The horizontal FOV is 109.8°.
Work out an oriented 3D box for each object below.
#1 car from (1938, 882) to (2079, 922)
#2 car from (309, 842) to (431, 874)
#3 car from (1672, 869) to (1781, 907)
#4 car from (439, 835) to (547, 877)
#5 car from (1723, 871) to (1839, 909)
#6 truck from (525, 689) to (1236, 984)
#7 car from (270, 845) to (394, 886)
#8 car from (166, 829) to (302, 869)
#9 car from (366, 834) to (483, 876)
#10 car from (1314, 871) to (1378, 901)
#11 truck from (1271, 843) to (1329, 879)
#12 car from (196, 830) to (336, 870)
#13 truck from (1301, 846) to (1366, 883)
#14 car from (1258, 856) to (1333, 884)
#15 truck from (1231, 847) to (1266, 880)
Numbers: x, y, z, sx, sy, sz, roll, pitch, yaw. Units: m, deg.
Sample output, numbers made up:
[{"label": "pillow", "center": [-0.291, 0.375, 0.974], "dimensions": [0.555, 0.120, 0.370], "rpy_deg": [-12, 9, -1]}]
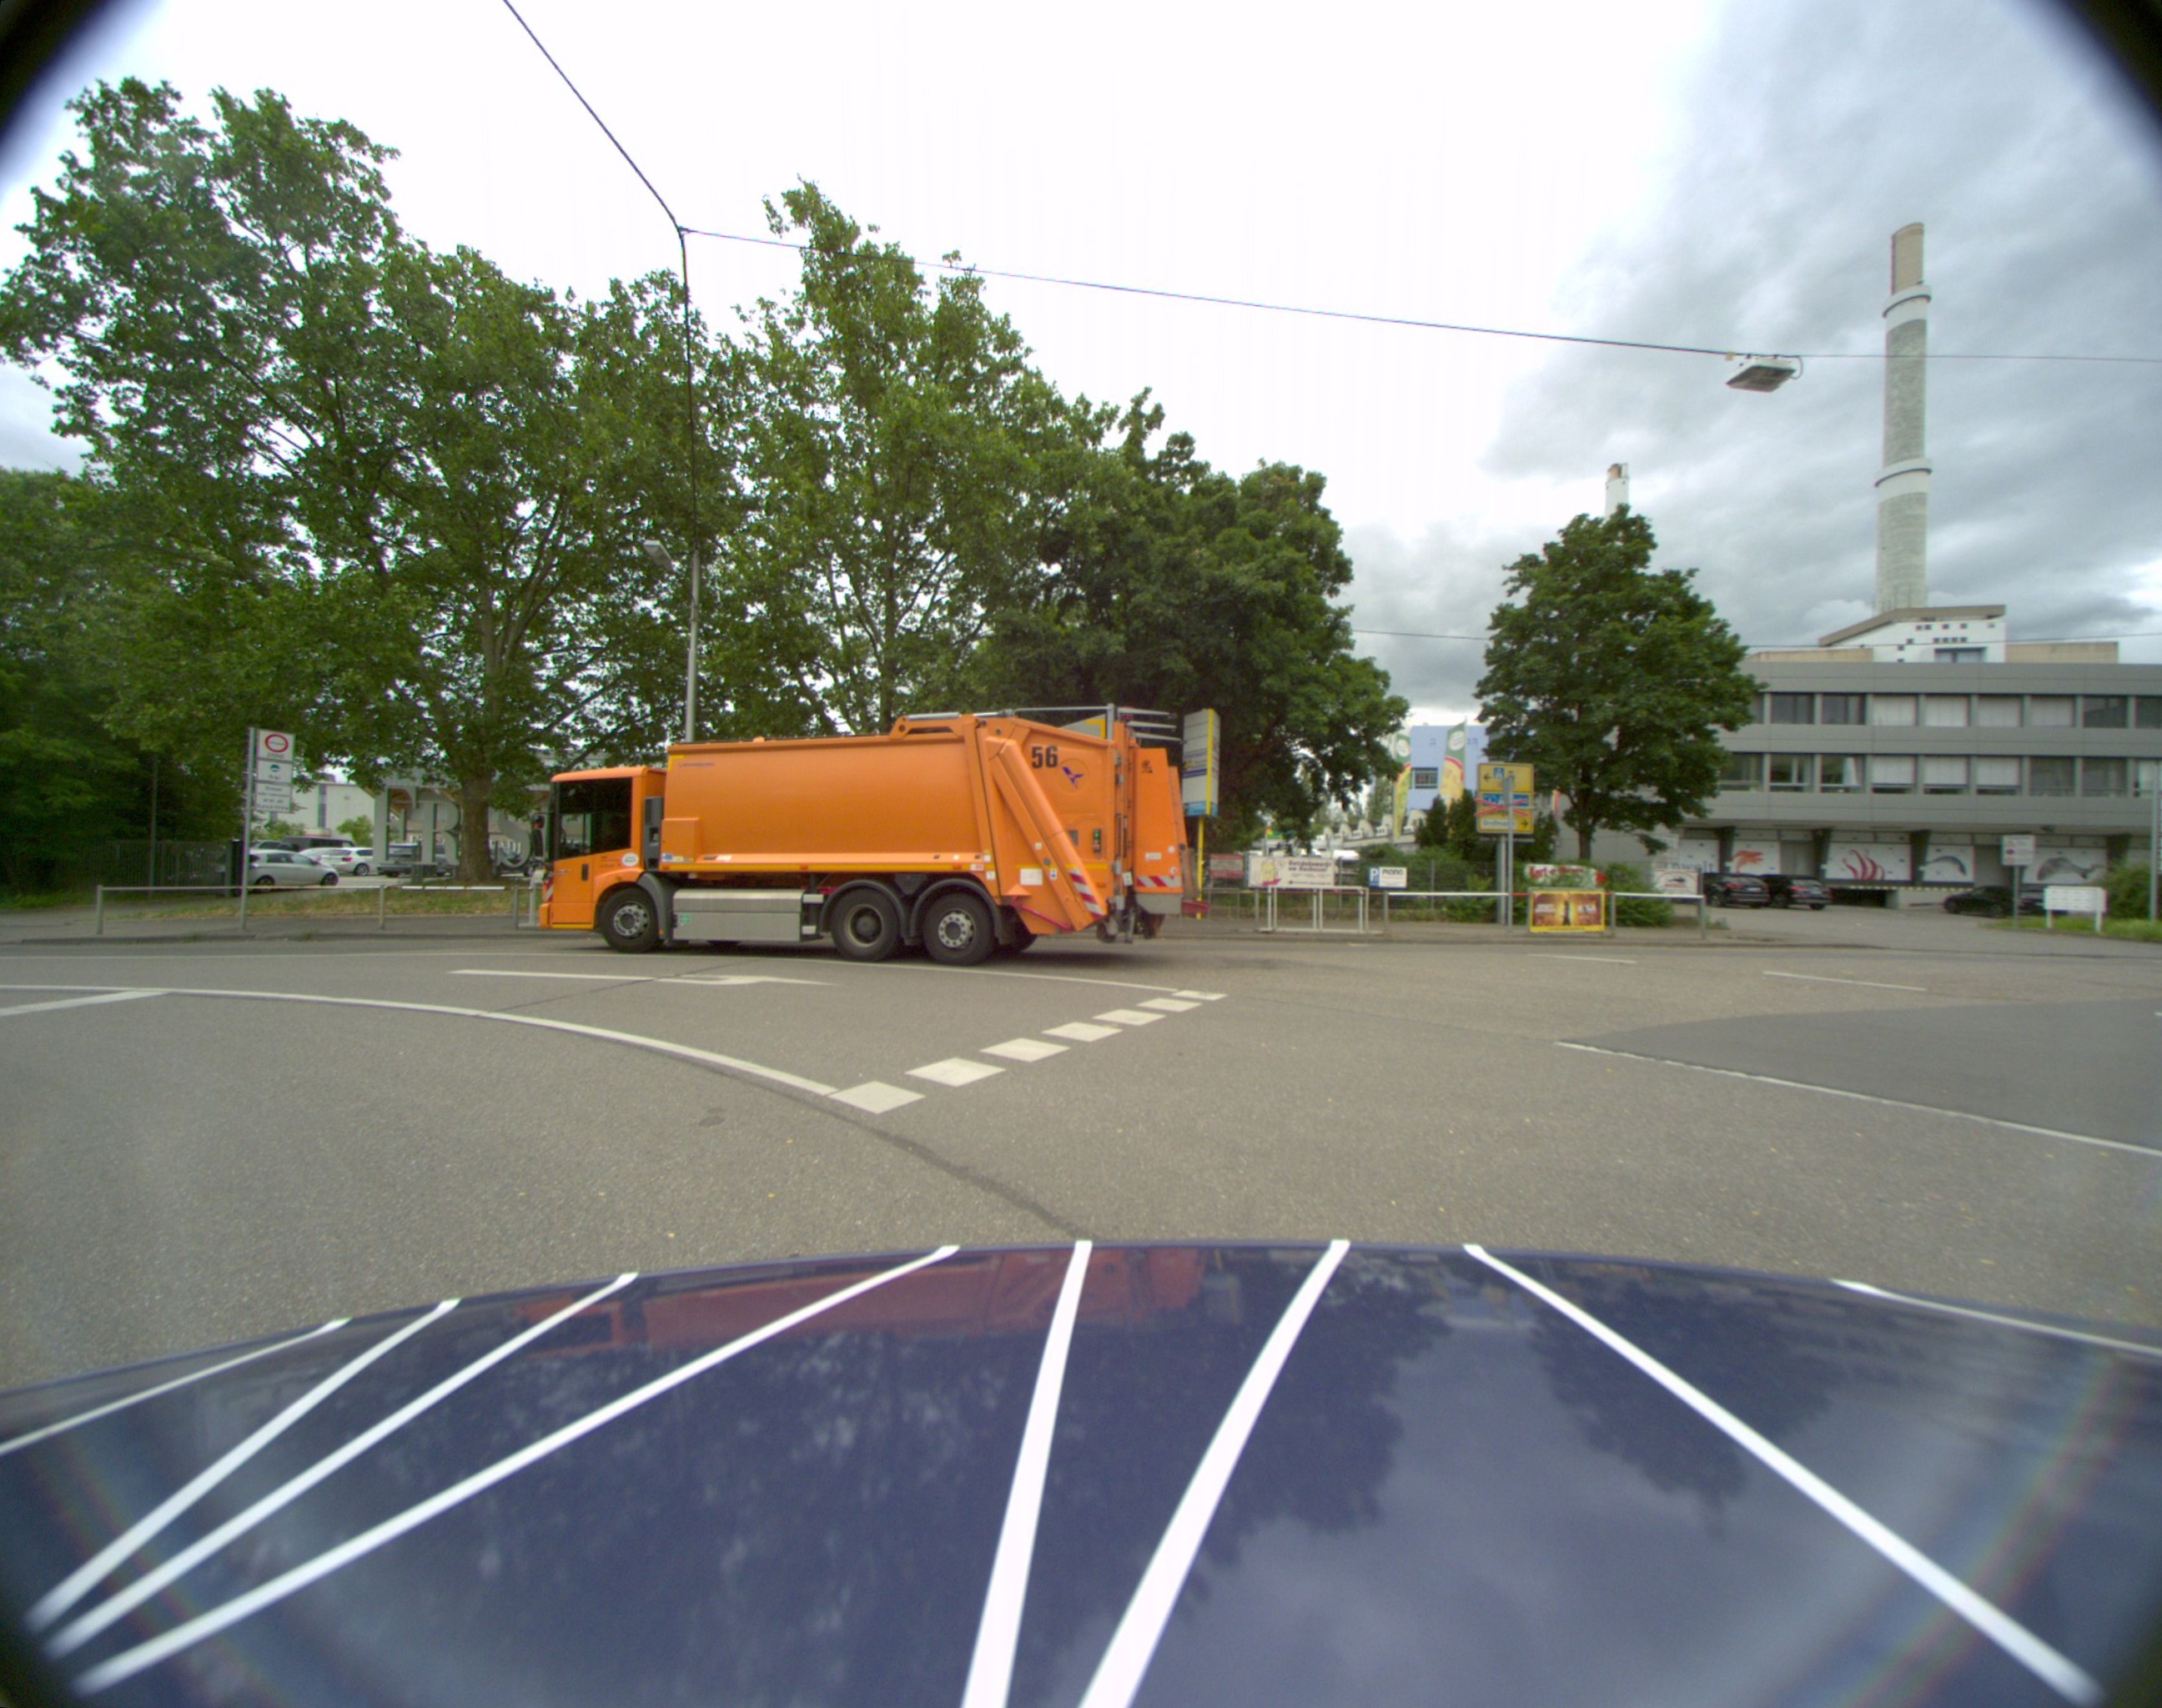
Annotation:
[{"label": "car", "center": [42.565, 2.134, 35.063], "dimensions": [2.045, 1.437, 4.836], "rpy_deg": [1, 1, 23]}, {"label": "car", "center": [-36.926, 0.245, 39.655], "dimensions": [1.999, 1.549, 4.641], "rpy_deg": [1, -1, -1]}, {"label": "car", "center": [31.659, 1.626, 37.451], "dimensions": [1.836, 1.608, 4.467], "rpy_deg": [2, 0, 6]}, {"label": "car", "center": [-30.371, 0.129, 39.451], "dimensions": [1.999, 2.001, 4.641], "rpy_deg": [1, -1, -1]}, {"label": "car", "center": [34.363, 1.728, 37.502], "dimensions": [1.837, 1.608, 4.425], "rpy_deg": [2, 0, 5]}, {"label": "truck", "center": [-3.008, -0.147, 11.613], "dimensions": [10.402, 3.505, 2.801], "rpy_deg": [0, -1, 14]}, {"label": "car", "center": [-39.711, 0.629, 40.467], "dimensions": [1.999, 2.001, 4.641], "rpy_deg": [1, -1, -1]}, {"label": "car", "center": [-45.996, -0.230, 41.456], "dimensions": [1.999, 2.001, 4.824], "rpy_deg": [1, -1, -1]}, {"label": "car", "center": [-33.646, 0.110, 39.154], "dimensions": [1.999, 2.001, 4.641], "rpy_deg": [1, -1, -1]}, {"label": "car", "center": [12.321, 1.459, 35.537], "dimensions": [1.708, 1.241, 3.702], "rpy_deg": [2, -1, 1]}, {"label": "truck", "center": [25.897, 0.911, 90.845], "dimensions": [2.849, 3.909, 15.734], "rpy_deg": [2, -1, 2]}, {"label": "car", "center": [-43.504, -0.147, 40.789], "dimensions": [1.999, 1.986, 5.103], "rpy_deg": [1, -1, -1]}, {"label": "truck", "center": [29.872, 1.287, 90.988], "dimensions": [2.849, 3.909, 15.733], "rpy_deg": [2, -1, 2]}, {"label": "car", "center": [22.345, 1.632, 79.482], "dimensions": [7.146, 2.716, 2.245], "rpy_deg": [2, -1, 4]}, {"label": "truck", "center": [21.955, 1.263, 100.033], "dimensions": [2.996, 4.141, 9.192], "rpy_deg": [1, -1, 4]}]
